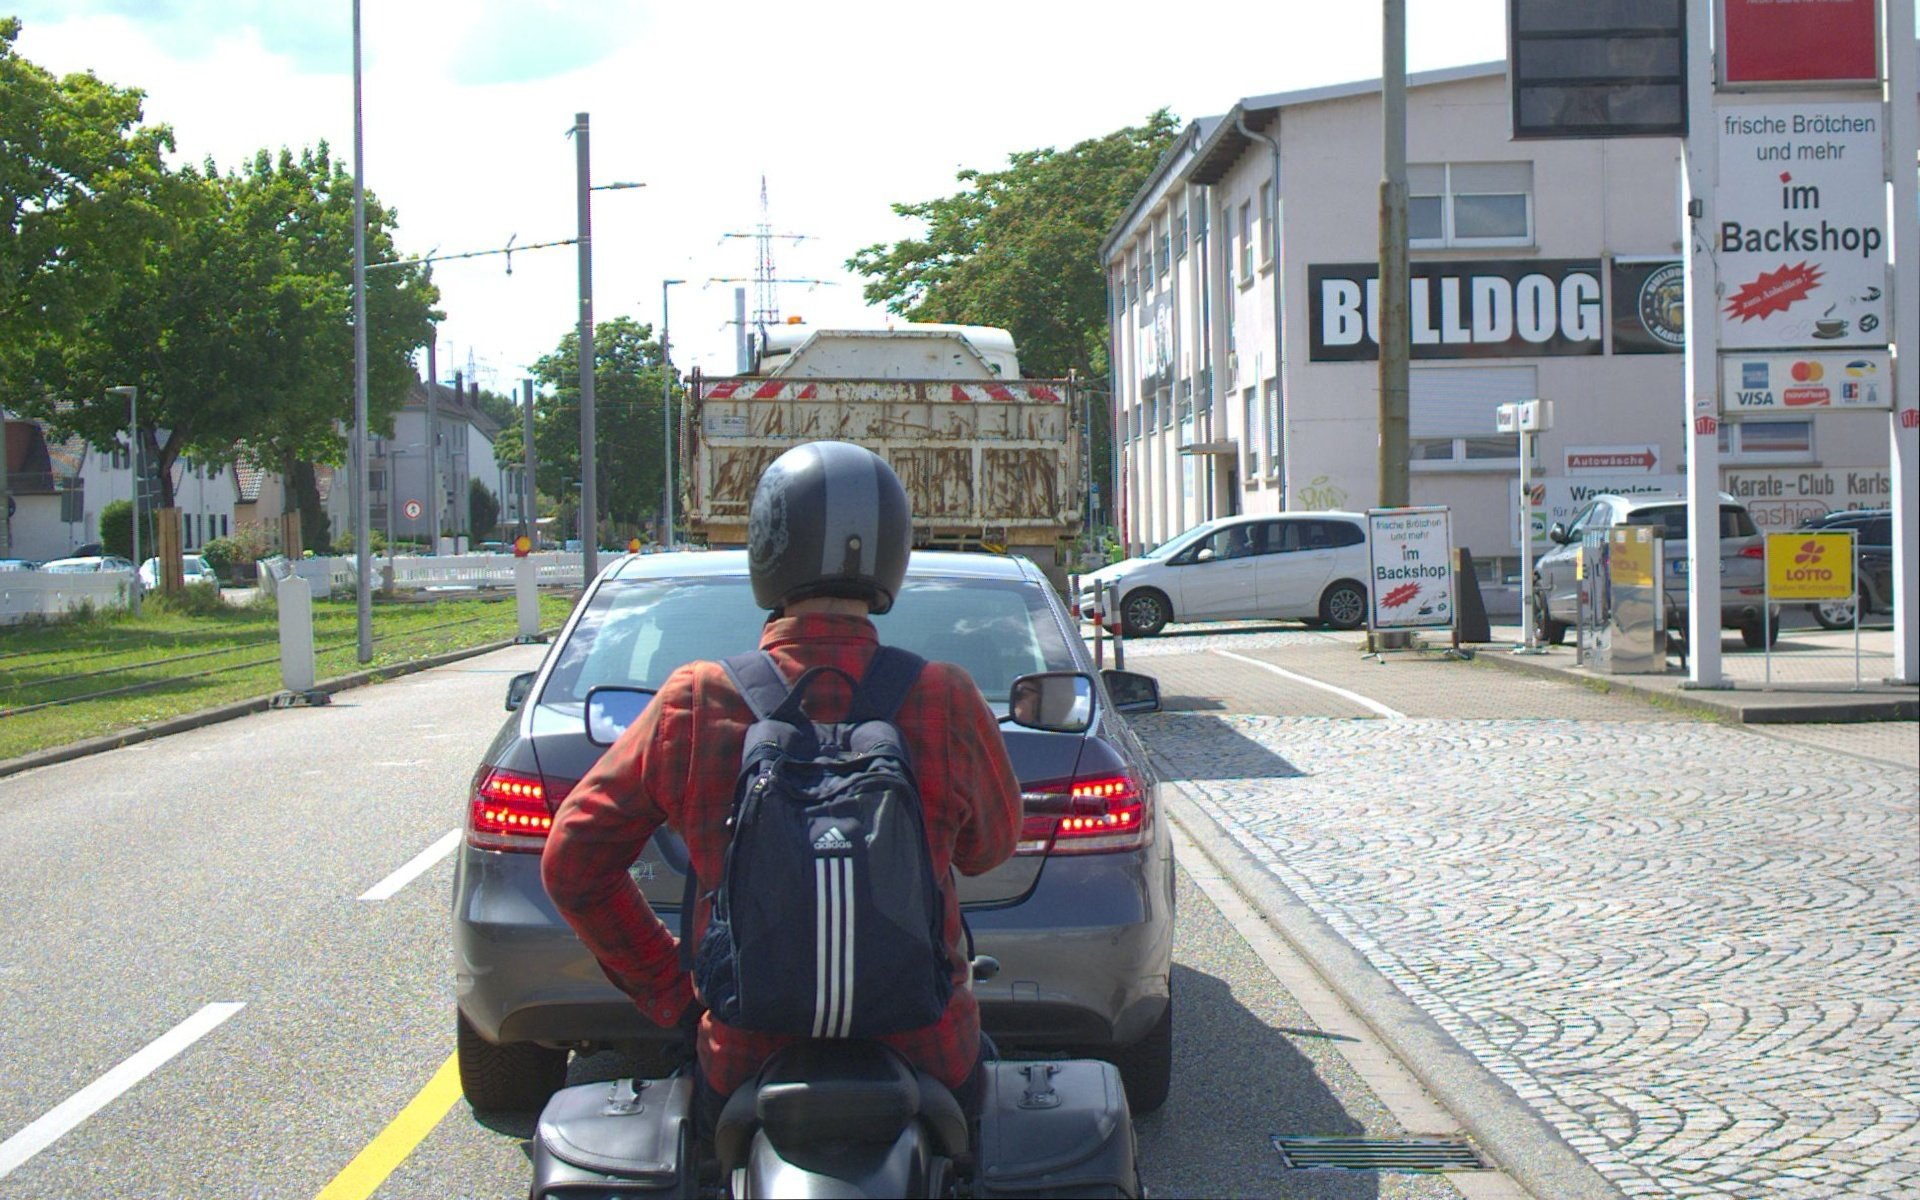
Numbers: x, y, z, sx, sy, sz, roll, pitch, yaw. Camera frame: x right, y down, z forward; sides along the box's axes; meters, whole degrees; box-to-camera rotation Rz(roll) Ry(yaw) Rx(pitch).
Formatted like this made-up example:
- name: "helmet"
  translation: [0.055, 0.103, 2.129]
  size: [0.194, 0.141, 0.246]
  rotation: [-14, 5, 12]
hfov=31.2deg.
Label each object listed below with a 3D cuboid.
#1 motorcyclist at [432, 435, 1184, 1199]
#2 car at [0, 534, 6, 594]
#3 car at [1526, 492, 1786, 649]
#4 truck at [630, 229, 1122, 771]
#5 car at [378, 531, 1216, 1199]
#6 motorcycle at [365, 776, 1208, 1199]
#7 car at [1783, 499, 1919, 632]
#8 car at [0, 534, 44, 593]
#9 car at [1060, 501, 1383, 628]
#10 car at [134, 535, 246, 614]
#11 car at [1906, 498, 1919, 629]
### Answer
- name: "motorcyclist"
  translation: [-0.209, 0.591, 5.095]
  size: [0.969, 1.627, 1.215]
  rotation: [1, 1, -1]
- name: "car"
  translation: [-28.669, -0.990, 98.135]
  size: [1.698, 1.733, 4.062]
  rotation: [-1, 1, 0]
- name: "car"
  translation: [7.351, -0.342, 36.686]
  size: [1.832, 1.530, 4.010]
  rotation: [-1, 1, -2]
- name: "truck"
  translation: [-0.637, -0.714, 25.478]
  size: [2.970, 3.293, 8.408]
  rotation: [-1, 1, -2]
- name: "car"
  translation: [-0.417, 0.570, 9.674]
  size: [1.832, 1.474, 4.010]
  rotation: [-1, 1, -2]
- name: "motorcycle"
  translation: [-0.219, 0.866, 5.218]
  size: [0.976, 1.010, 2.432]
  rotation: [1, 1, -1]
- name: "car"
  translation: [12.643, -0.471, 43.395]
  size: [4.105, 1.619, 1.686]
  rotation: [-1, 1, 3]
- name: "car"
  translation: [-29.266, -1.112, 104.599]
  size: [1.698, 1.733, 4.062]
  rotation: [-1, 1, 0]
- name: "car"
  translation: [3.548, -0.500, 47.041]
  size: [4.104, 1.619, 1.686]
  rotation: [-1, 1, -8]
- name: "car"
  translation: [-17.811, -0.621, 79.693]
  size: [1.698, 1.733, 3.860]
  rotation: [-1, 1, 0]
- name: "car"
  translation: [11.786, -0.400, 37.253]
  size: [1.832, 1.474, 4.010]
  rotation: [-1, 1, -2]
